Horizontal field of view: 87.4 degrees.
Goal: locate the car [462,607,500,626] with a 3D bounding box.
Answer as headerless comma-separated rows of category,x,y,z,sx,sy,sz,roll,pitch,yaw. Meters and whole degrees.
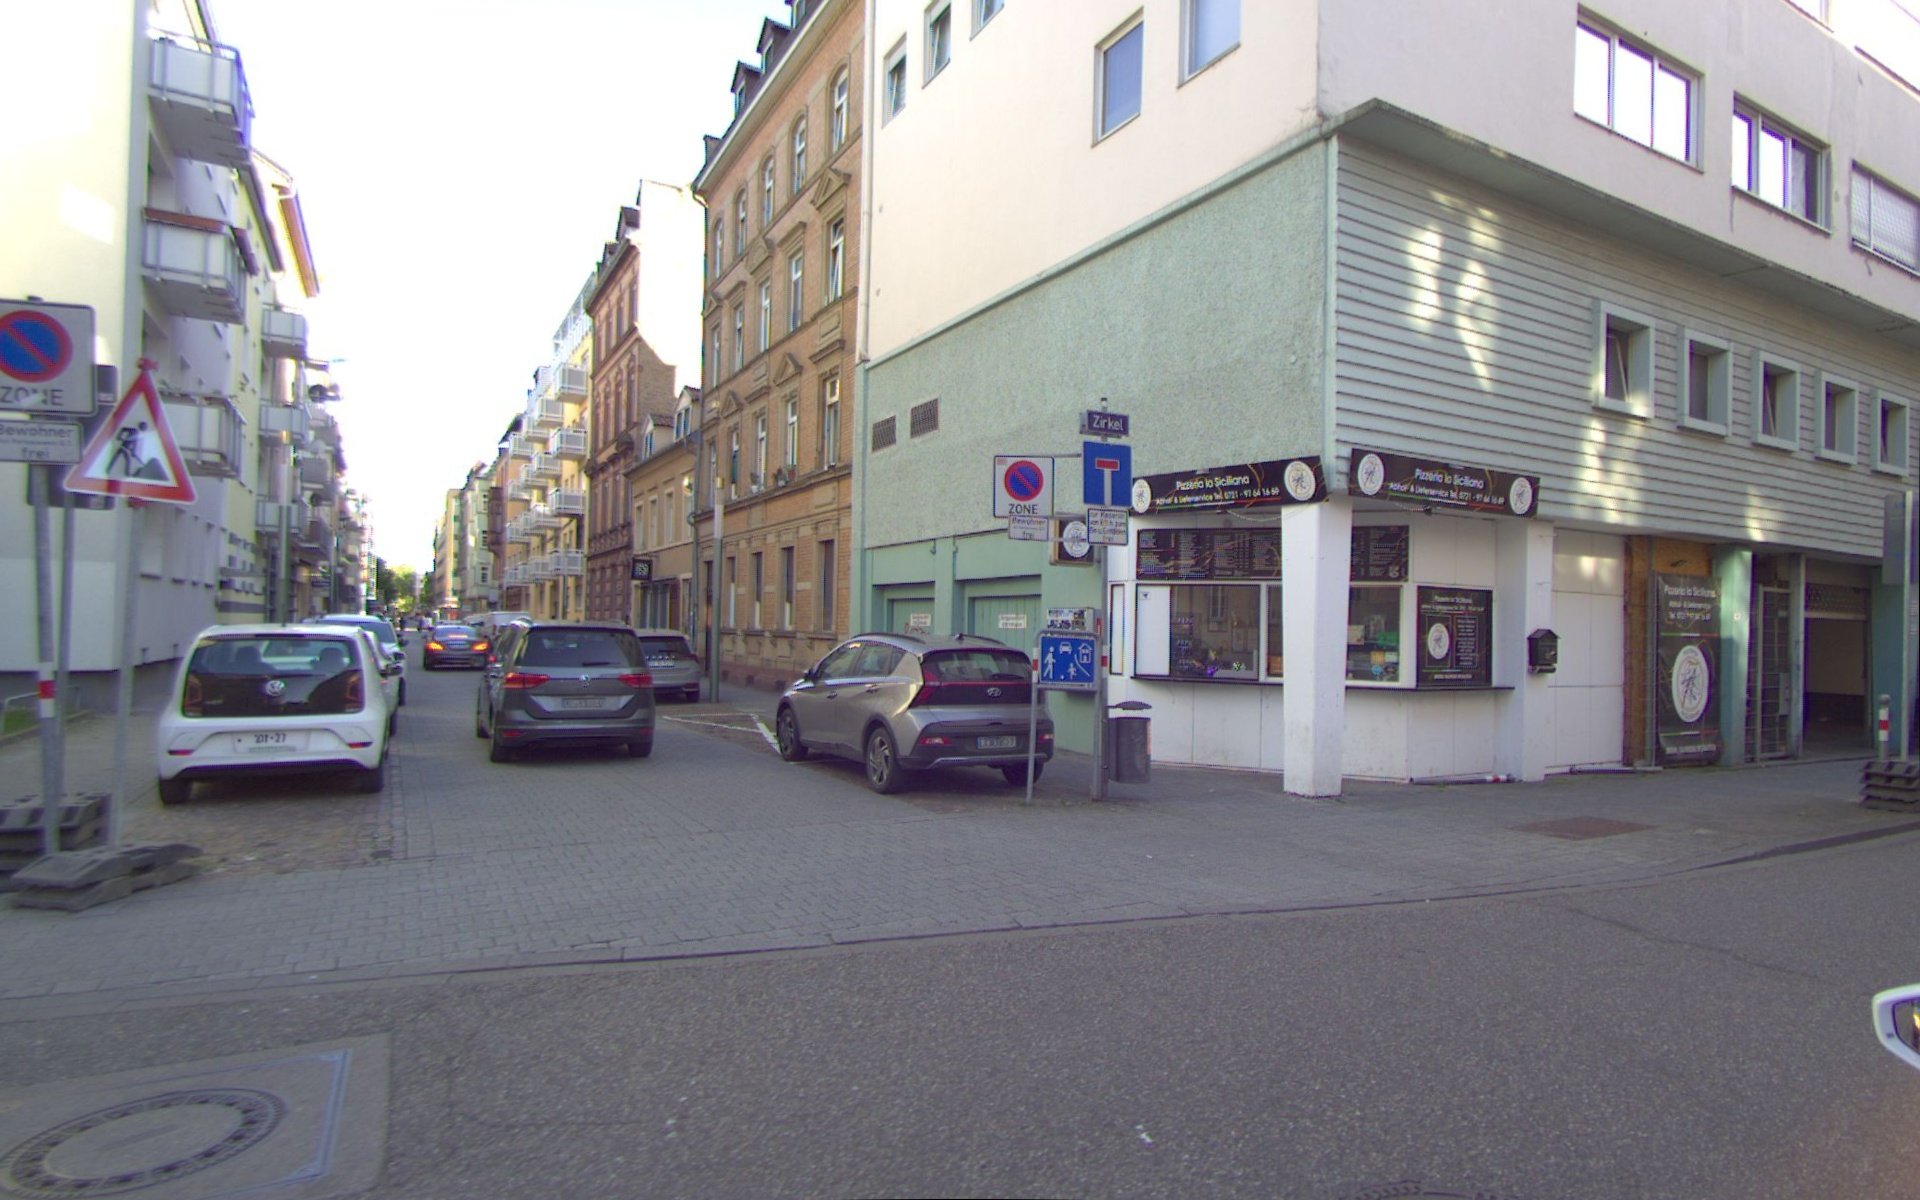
car,-30.306,1.032,63.500,1.768,1.202,3.055,0,-1,-34

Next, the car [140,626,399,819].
car,-6.418,1.014,9.647,1.705,1.456,3.317,2,-2,-30

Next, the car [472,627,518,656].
car,-20.756,1.840,44.779,1.455,1.202,3.055,0,-1,-34

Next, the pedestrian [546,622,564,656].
pedestrian,-19.727,1.885,48.889,0.683,1.602,0.630,2,1,-33

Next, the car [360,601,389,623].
car,-41.241,0.861,70.780,1.566,1.527,3.872,2,-2,-28

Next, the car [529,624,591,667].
car,-14.481,1.619,36.312,1.764,1.427,3.461,0,-1,-27

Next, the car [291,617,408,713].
car,-11.754,1.143,19.326,1.740,1.632,4.111,0,-1,-32

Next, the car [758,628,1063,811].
car,-0.724,1.110,10.853,1.673,1.540,3.913,2,-2,-30

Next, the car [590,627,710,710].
car,-6.575,1.351,21.075,1.764,1.501,3.886,0,-1,-27

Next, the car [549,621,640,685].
car,-9.567,1.314,26.141,1.764,1.501,3.886,0,-1,-27

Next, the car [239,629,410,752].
car,-8.883,1.159,14.250,1.739,1.416,4.294,2,-2,-30

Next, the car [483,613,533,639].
car,-22.025,1.247,48.933,1.768,1.202,3.055,0,-1,-34

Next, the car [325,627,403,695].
car,-13.959,1.369,23.560,1.469,1.408,3.377,0,-1,-31

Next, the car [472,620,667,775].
car,-5.066,1.078,12.687,1.765,1.589,4.139,2,-2,-28

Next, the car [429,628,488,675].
car,-16.515,1.653,33.004,1.566,1.400,3.872,2,-2,-28
